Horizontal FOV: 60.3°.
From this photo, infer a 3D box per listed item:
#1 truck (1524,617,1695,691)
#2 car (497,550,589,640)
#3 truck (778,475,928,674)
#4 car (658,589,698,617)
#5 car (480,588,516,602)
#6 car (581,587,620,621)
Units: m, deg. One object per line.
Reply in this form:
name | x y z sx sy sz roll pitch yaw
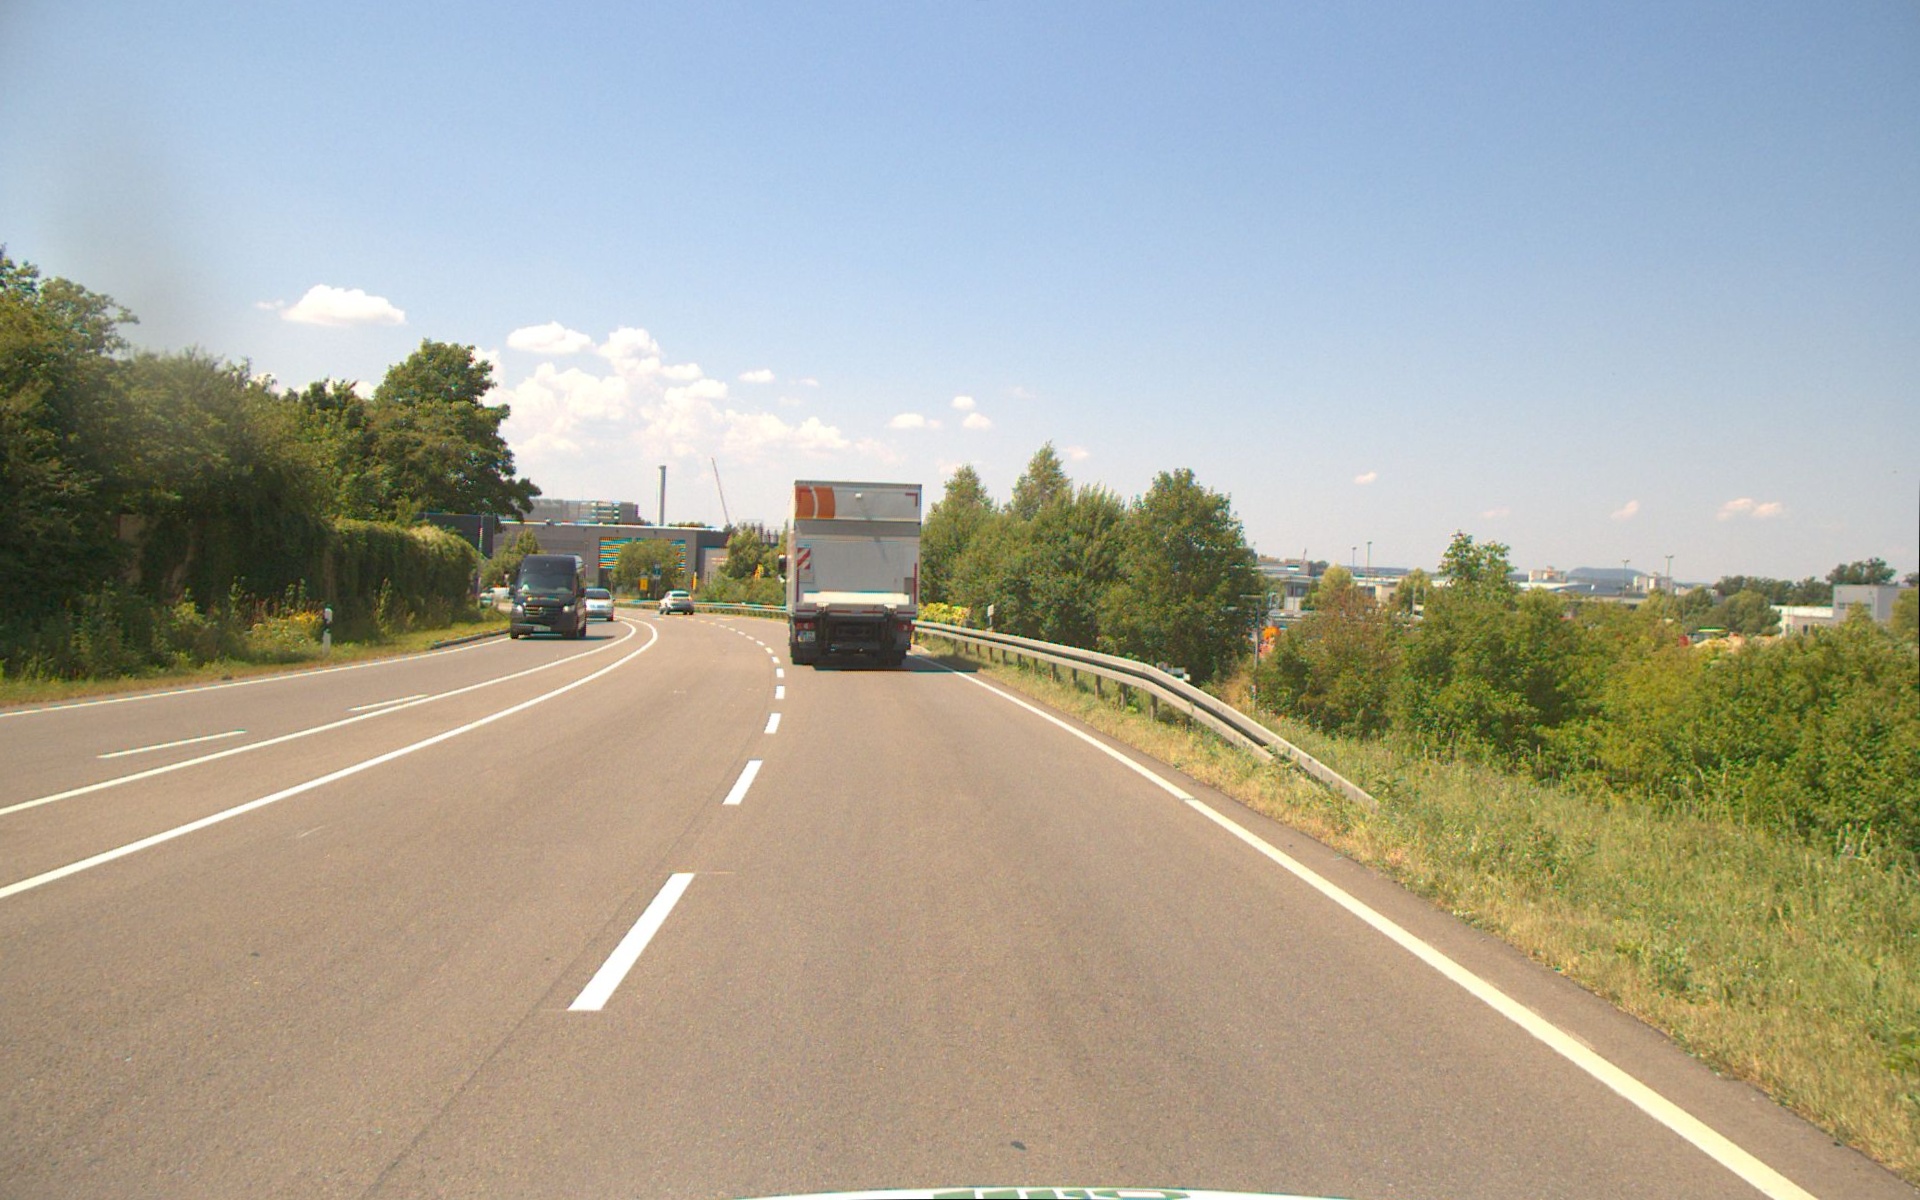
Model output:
truck | 39.737 3.236 101.308 9.217 3.748 3.125 4 2 30
car | -12.996 -0.159 51.874 2.147 2.586 6.024 2 0 -9
truck | -2.563 -0.528 36.581 2.750 3.775 9.094 1 0 -7
car | -18.543 0.211 108.665 1.914 1.693 3.979 4 -1 -18
car | -64.461 -0.701 230.732 4.657 1.966 2.149 1 0 -9
car | -18.102 0.187 83.343 1.805 1.620 4.801 2 0 -13
